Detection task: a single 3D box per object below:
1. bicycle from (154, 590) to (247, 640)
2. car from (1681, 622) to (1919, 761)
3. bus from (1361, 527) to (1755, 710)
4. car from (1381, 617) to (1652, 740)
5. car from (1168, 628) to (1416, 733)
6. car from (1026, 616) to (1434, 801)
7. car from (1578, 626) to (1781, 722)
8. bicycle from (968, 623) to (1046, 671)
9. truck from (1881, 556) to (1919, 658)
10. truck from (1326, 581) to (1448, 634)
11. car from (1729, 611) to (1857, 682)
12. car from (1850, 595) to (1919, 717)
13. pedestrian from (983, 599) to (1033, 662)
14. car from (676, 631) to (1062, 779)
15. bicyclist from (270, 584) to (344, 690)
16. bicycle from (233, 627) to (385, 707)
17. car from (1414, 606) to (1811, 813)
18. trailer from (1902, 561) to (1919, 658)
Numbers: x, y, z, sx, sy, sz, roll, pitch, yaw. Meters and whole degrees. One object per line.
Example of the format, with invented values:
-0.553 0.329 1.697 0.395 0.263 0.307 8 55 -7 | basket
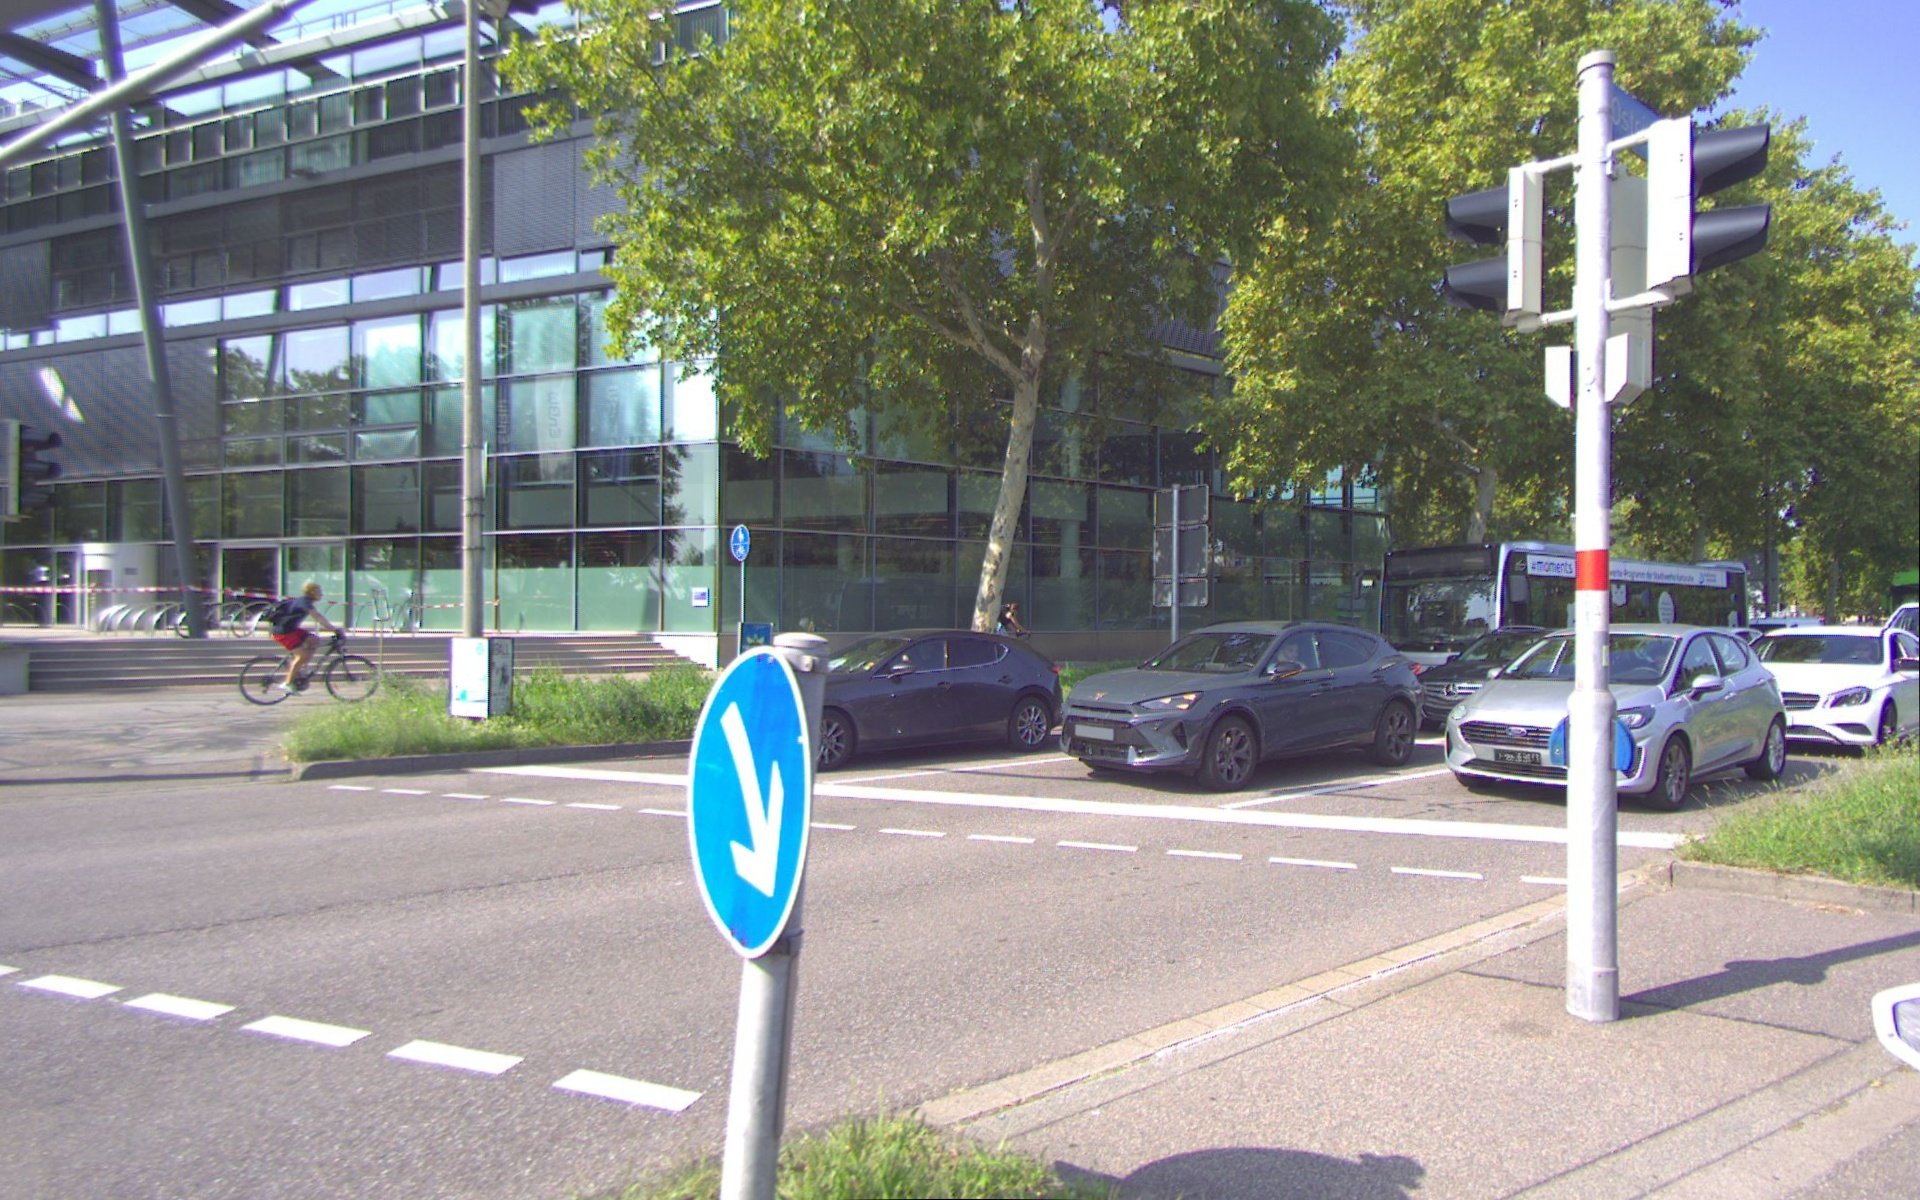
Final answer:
-17.640 0.344 23.382 0.516 1.108 1.869 1 -1 9 | bicycle
10.581 0.987 12.304 4.044 1.421 1.697 1 -1 -36 | car
13.423 0.468 21.738 12.189 3.120 2.573 2 -1 -35 | bus
7.898 1.024 14.168 3.958 1.461 1.696 2 0 -34 | car
5.233 1.153 15.646 3.962 1.409 1.730 1 -1 -36 | car
2.873 0.955 10.326 4.224 1.523 1.842 1 -2 -36 | car
12.412 1.220 17.274 3.784 1.486 1.695 2 -3 -36 | car
1.059 1.025 22.251 1.814 1.022 0.500 1 -1 -36 | bicycle
38.817 0.335 39.497 5.833 3.869 2.591 2 -3 -36 | truck
25.686 0.506 60.186 9.027 2.899 1.982 2 -1 -33 | truck
24.524 1.363 29.510 4.701 1.913 1.693 2 -3 -35 | car
16.879 0.916 16.850 4.842 1.888 1.899 2 -3 -36 | car
1.061 0.664 22.255 1.022 1.367 0.494 1 -1 -36 | pedestrian
-0.930 1.053 11.431 4.120 1.371 1.697 1 -1 -36 | car
-9.820 0.551 15.132 0.875 1.538 0.651 1 0 -30 | bicyclist
-9.769 0.991 15.165 1.867 1.125 0.652 2 -1 -31 | bicycle
6.049 0.868 9.184 3.959 1.515 1.633 1 -3 -34 | car
44.571 0.511 43.662 13.676 3.871 2.616 2 -3 -36 | trailer
